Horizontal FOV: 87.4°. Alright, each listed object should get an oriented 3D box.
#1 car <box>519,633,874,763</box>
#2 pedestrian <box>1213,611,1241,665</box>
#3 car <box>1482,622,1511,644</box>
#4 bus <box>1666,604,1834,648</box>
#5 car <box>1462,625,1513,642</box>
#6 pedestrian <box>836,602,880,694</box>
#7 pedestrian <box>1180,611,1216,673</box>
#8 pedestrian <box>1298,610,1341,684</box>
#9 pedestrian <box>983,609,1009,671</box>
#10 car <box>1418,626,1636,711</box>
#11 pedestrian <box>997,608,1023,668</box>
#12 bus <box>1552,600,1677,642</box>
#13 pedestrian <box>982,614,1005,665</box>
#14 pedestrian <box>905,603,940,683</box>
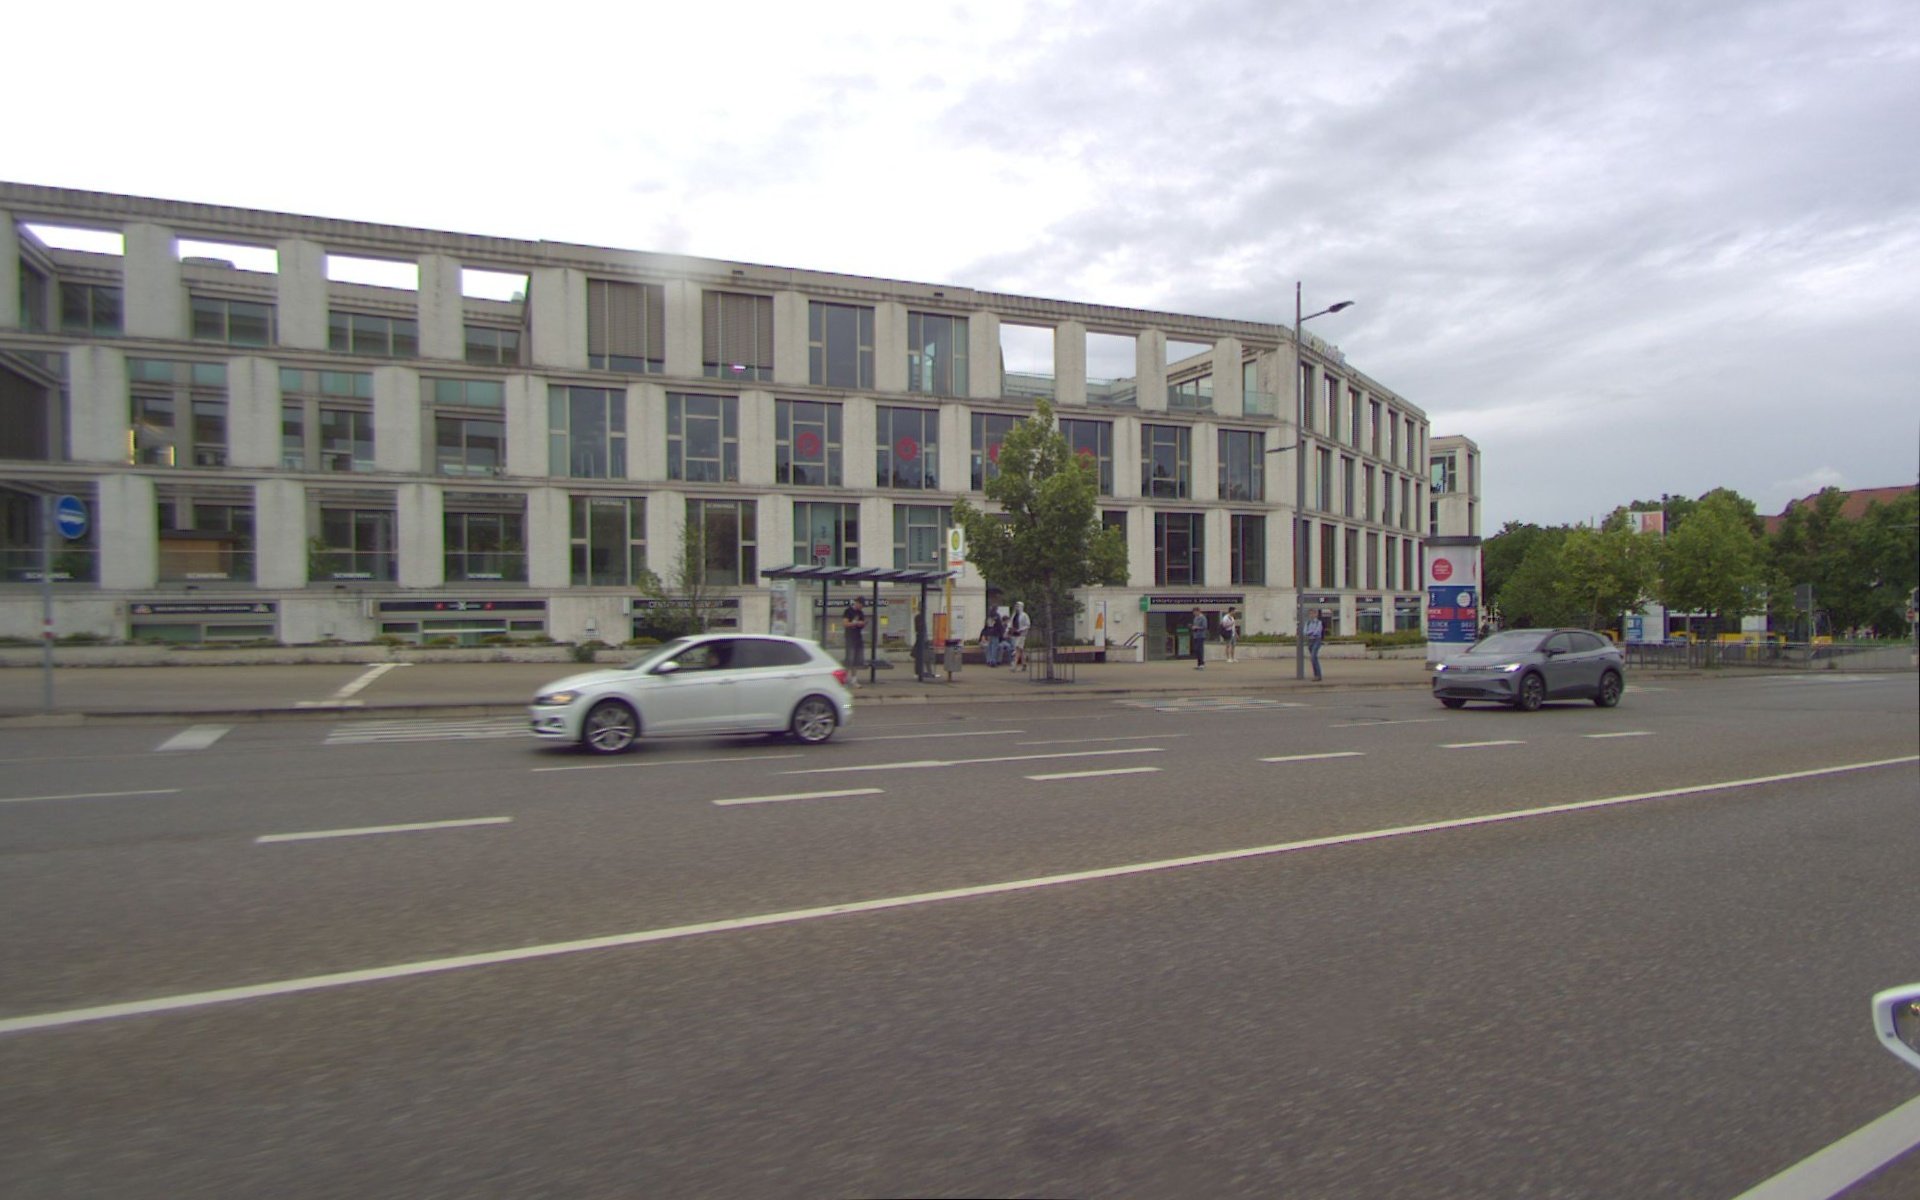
[{"bbox_3d":[-3.372,1.199,13.013,4.125,1.448,1.865,2,-4,-29],"label":"car"},{"bbox_3d":[8.683,1.228,32.634,0.492,1.712,0.910,0,-1,44],"label":"pedestrian"},{"bbox_3d":[44.239,2.733,82.823,1.749,1.754,3.989,0,-1,33],"label":"car"},{"bbox_3d":[59.507,1.917,76.053,2.860,3.144,9.690,0,-1,-27],"label":"bus"},{"bbox_3d":[48.139,3.067,91.721,1.649,1.444,3.948,1,0,-30],"label":"car"},{"bbox_3d":[-2.124,0.991,20.943,0.746,1.866,0.505,1,-1,-30],"label":"pedestrian"},{"bbox_3d":[6.897,1.210,29.124,0.846,1.785,0.596,1,-1,-27],"label":"pedestrian"},{"bbox_3d":[9.302,1.201,25.985,0.737,1.866,0.750,1,-1,-27],"label":"pedestrian"},{"bbox_3d":[1.016,1.126,28.469,0.559,1.748,0.523,1,-1,-27],"label":"pedestrian"},{"bbox_3d":[11.761,1.407,20.786,4.538,1.592,1.824,2,-4,-29],"label":"car"},{"bbox_3d":[1.482,1.114,29.725,0.613,1.748,0.424,1,-1,-29],"label":"pedestrian"},{"bbox_3d":[55.164,1.772,84.948,2.862,3.351,8.511,1,-1,-29],"label":"bus"},{"bbox_3d":[0.966,1.137,29.239,0.504,1.470,0.424,1,-1,-29],"label":"pedestrian"},{"bbox_3d":[-0.891,1.013,23.914,0.600,1.880,0.577,1,-1,-31],"label":"pedestrian"}]
